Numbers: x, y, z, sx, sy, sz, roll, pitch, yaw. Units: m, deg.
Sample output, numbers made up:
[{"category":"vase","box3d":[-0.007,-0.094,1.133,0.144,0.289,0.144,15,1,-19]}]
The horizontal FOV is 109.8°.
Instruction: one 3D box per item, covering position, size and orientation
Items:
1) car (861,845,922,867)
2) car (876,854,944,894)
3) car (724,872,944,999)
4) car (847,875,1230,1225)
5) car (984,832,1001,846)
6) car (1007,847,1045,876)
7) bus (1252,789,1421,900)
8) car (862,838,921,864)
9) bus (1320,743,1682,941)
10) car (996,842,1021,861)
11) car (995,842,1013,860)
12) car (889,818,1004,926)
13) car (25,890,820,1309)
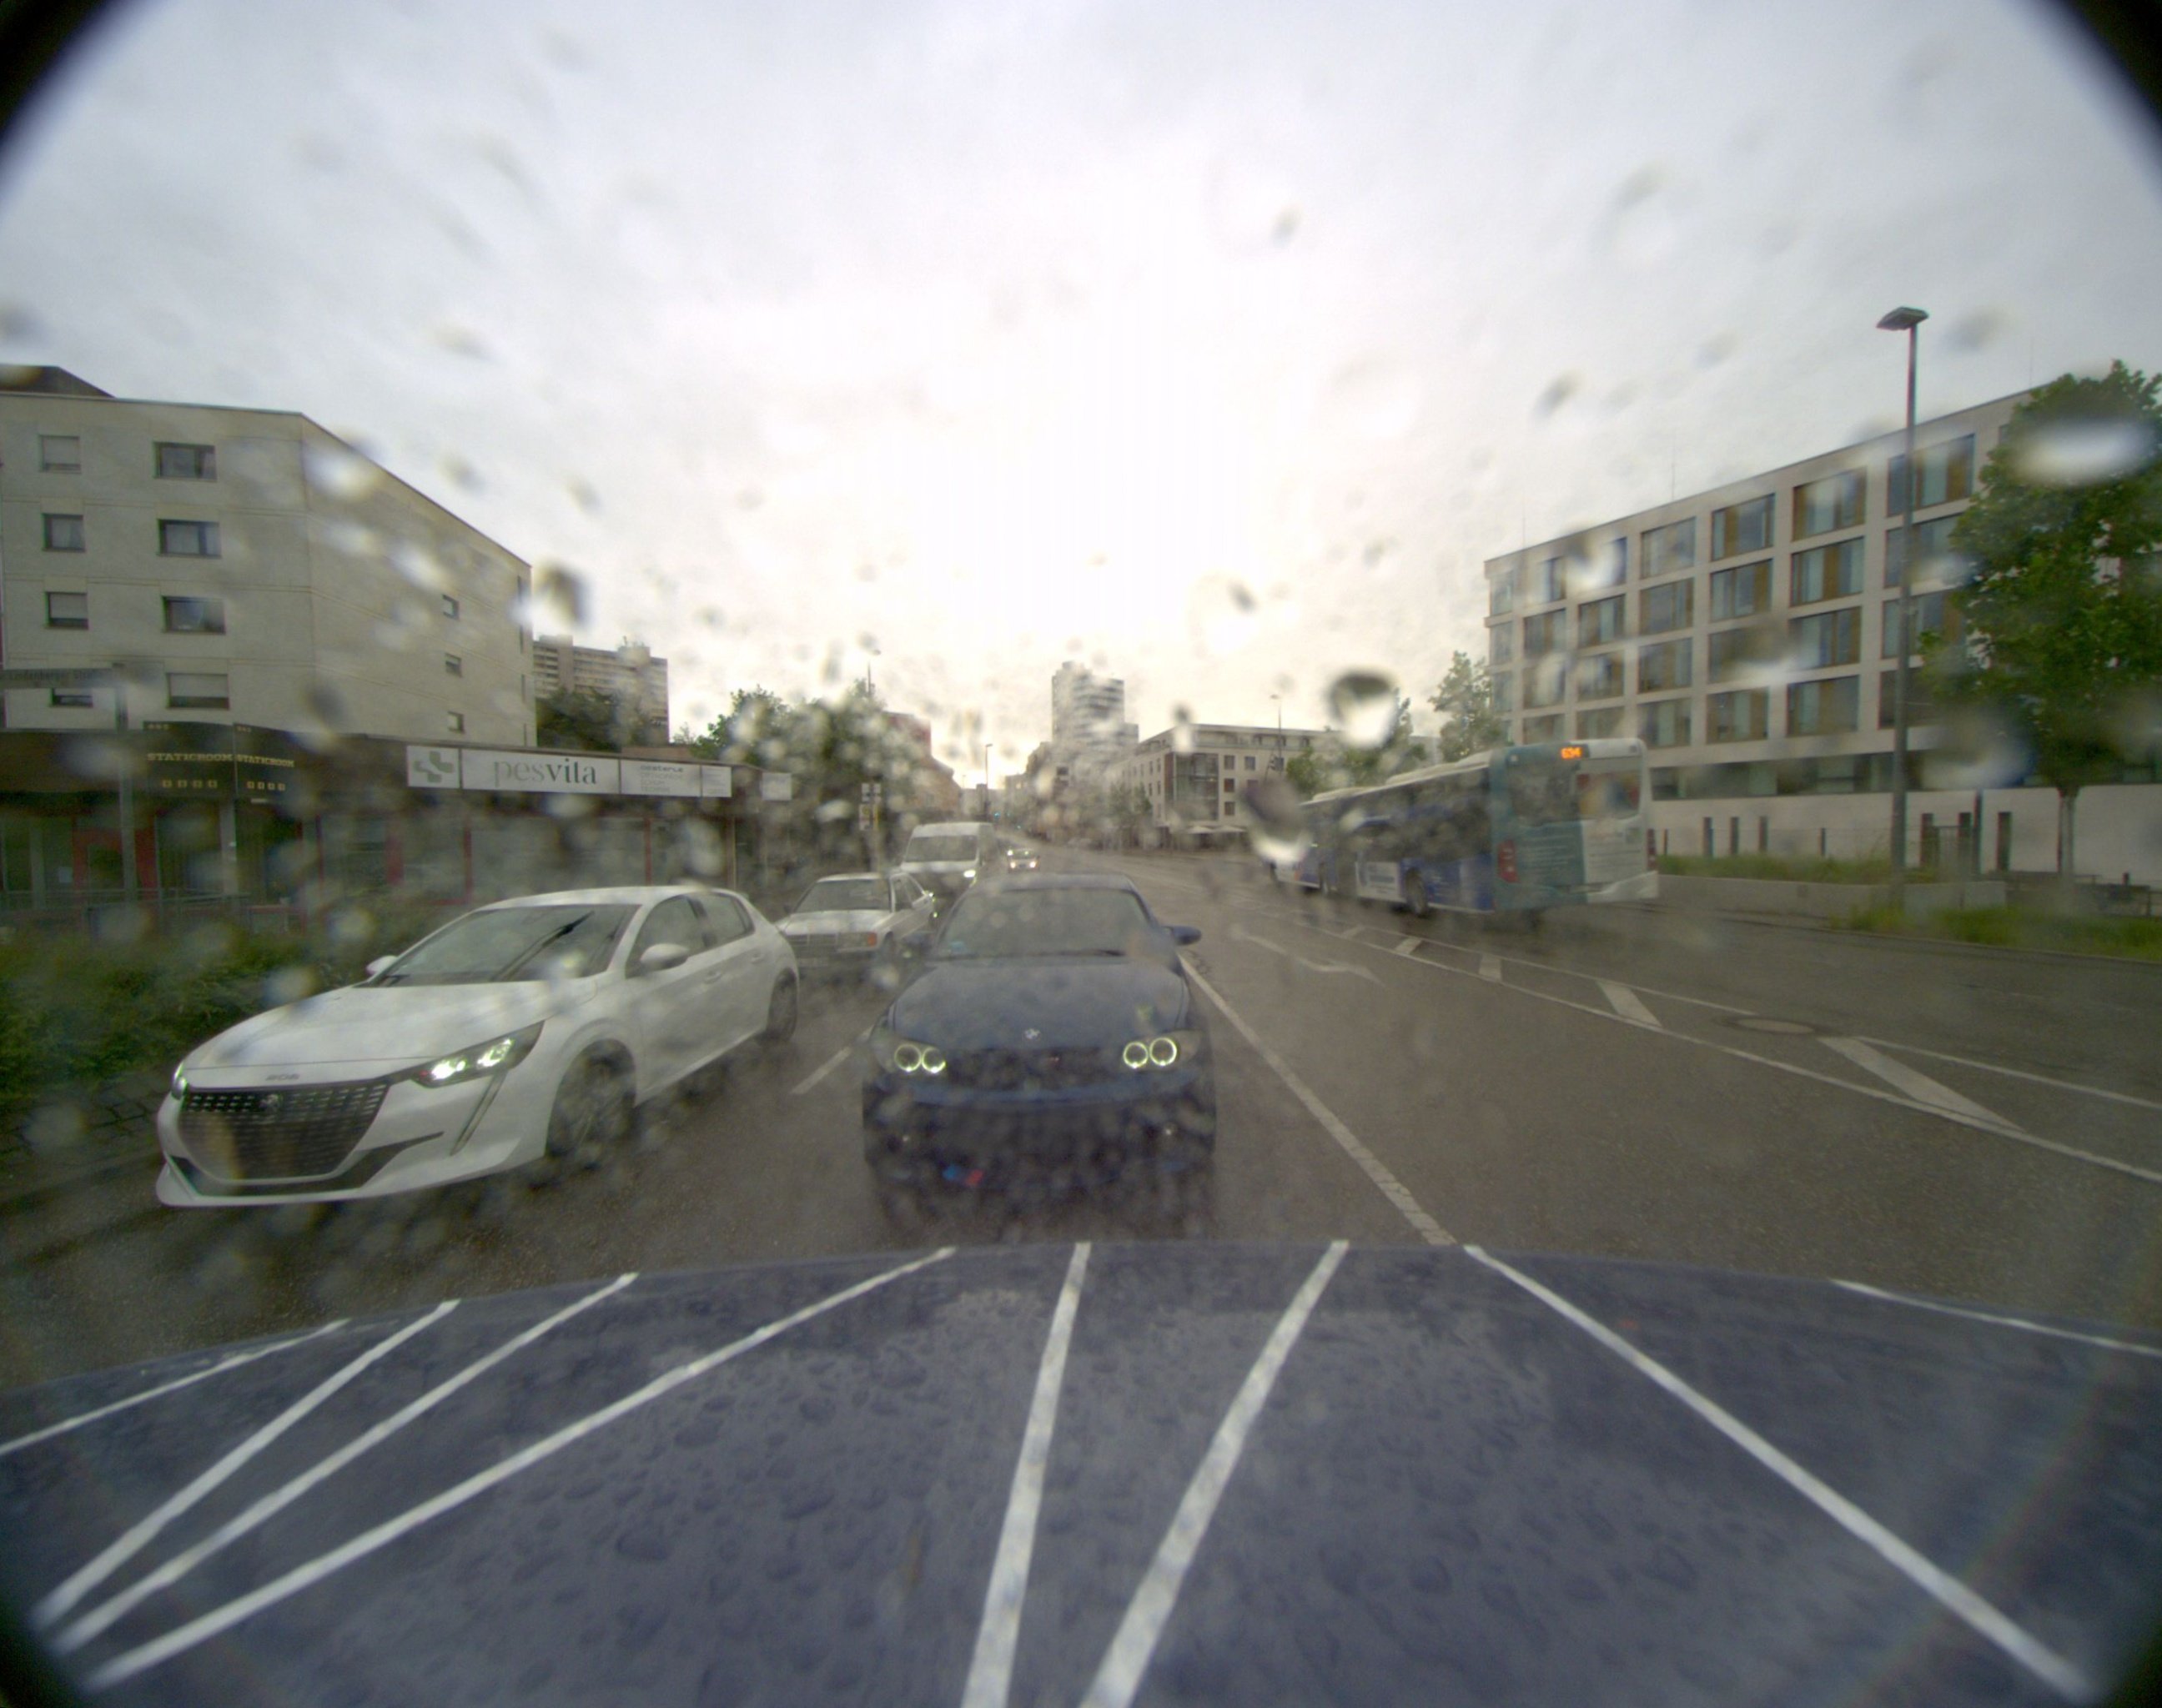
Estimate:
[{"category":"car","box3d":[-13.154,0.111,53.038,4.000,1.419,1.882,-1,1,-10]},{"category":"car","box3d":[-7.020,0.775,31.533,1.788,1.481,4.000,-2,1,1]},{"category":"car","box3d":[-3.366,1.043,11.287,1.788,1.338,4.162,-2,1,1]},{"category":"car","box3d":[-0.232,0.941,5.439,1.693,1.380,3.999,-2,1,-1]},{"category":"car","box3d":[-12.136,-2.038,104.369,1.879,1.745,4.000,1,0,1]},{"category":"car","box3d":[-3.153,0.383,44.355,1.803,1.530,3.999,-2,1,1]},{"category":"bus","box3d":[8.173,-0.330,25.785,2.798,3.096,8.883,-1,1,0]},{"category":"car","box3d":[-13.754,-0.233,55.373,4.000,1.769,1.882,-1,1,-10]},{"category":"bus","box3d":[8.072,-0.245,16.635,2.784,3.096,9.366,-1,1,0]},{"category":"car","box3d":[-6.694,-0.249,70.479,1.999,1.559,3.998,-2,1,-1]},{"category":"car","box3d":[-9.023,-0.407,88.510,2.000,2.002,3.996,-1,1,-7]},{"category":"car","box3d":[-3.470,0.361,20.922,2.197,2.503,6.120,-1,1,-2]},{"category":"car","box3d":[-3.335,1.083,5.096,1.666,1.407,4.114,-2,1,1]}]
